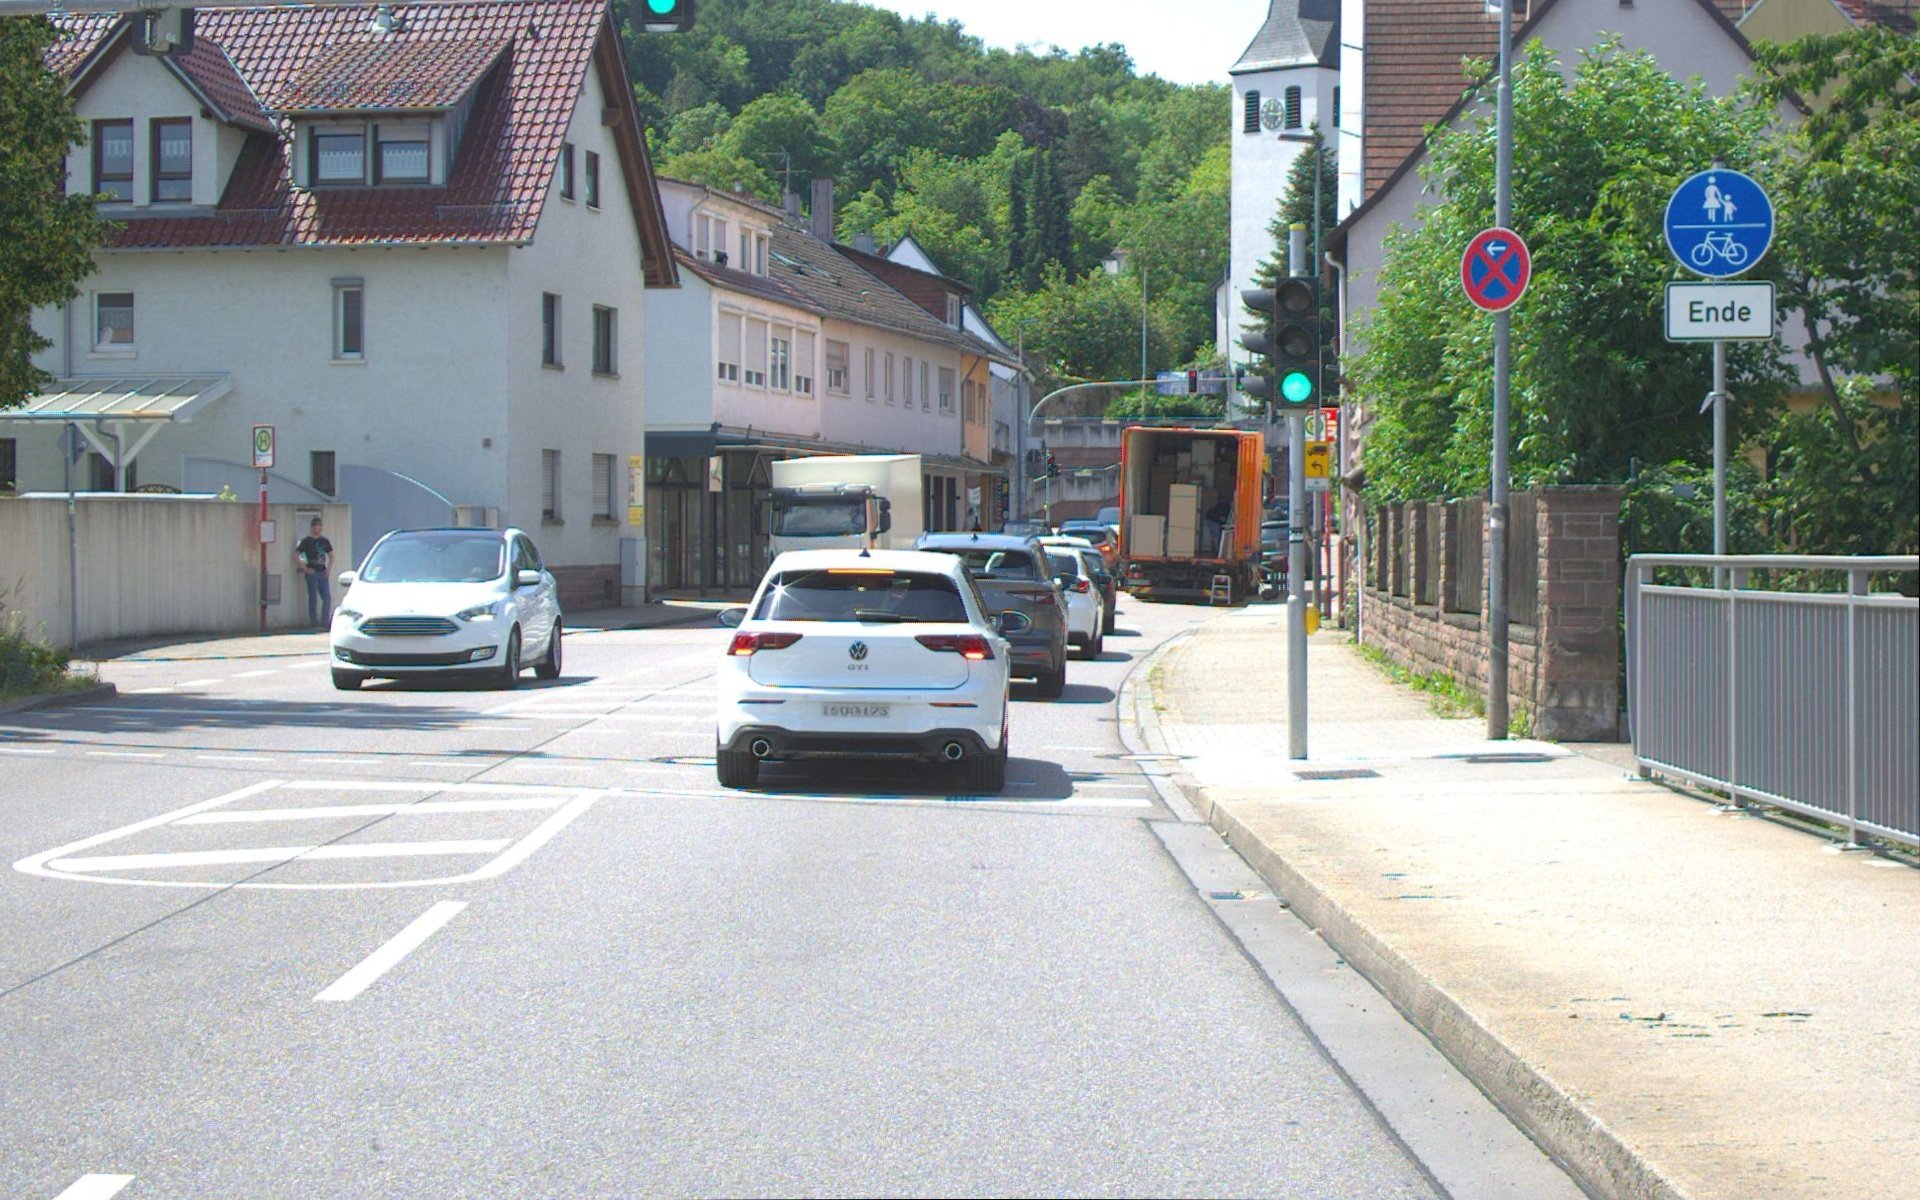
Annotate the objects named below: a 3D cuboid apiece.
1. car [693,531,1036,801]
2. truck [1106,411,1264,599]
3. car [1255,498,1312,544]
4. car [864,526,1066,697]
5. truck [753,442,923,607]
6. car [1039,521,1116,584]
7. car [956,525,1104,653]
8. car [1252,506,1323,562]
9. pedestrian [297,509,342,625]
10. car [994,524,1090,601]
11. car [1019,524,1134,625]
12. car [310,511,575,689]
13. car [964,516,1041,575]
[{"bbox_3d":[-0.513,0.362,21.962,1.815,1.514,4.000,2,1,3],"label":"car"},{"bbox_3d":[5.458,-2.170,81.616,3.368,4.156,9.517,-1,0,6],"label":"truck"},{"bbox_3d":[11.316,-2.754,120.498,1.815,1.514,4.000,-1,0,3],"label":"car"},{"bbox_3d":[0.110,0.090,35.008,1.815,1.623,4.000,-1,0,3],"label":"car"},{"bbox_3d":[-2.449,-1.512,70.953,2.502,3.224,6.038,-1,0,8],"label":"truck"},{"bbox_3d":[2.973,-1.184,86.222,1.815,1.514,4.000,-1,0,3],"label":"car"},{"bbox_3d":[0.987,-0.161,46.284,1.815,1.623,4.000,-1,0,3],"label":"car"},{"bbox_3d":[9.169,-1.835,96.503,1.815,1.514,4.000,-1,0,3],"label":"car"},{"bbox_3d":[-9.788,-0.509,52.547,0.434,1.758,0.556,0,1,22],"label":"pedestrian"},{"bbox_3d":[1.709,-0.765,70.693,1.815,1.514,4.000,-1,0,3],"label":"car"},{"bbox_3d":[1.998,-0.431,57.832,1.815,1.623,4.000,-1,0,3],"label":"car"},{"bbox_3d":[-5.143,-0.023,34.678,1.815,1.644,4.000,2,1,3],"label":"car"},{"bbox_3d":[1.217,-1.558,97.864,1.739,1.645,3.667,1,1,8],"label":"car"}]
